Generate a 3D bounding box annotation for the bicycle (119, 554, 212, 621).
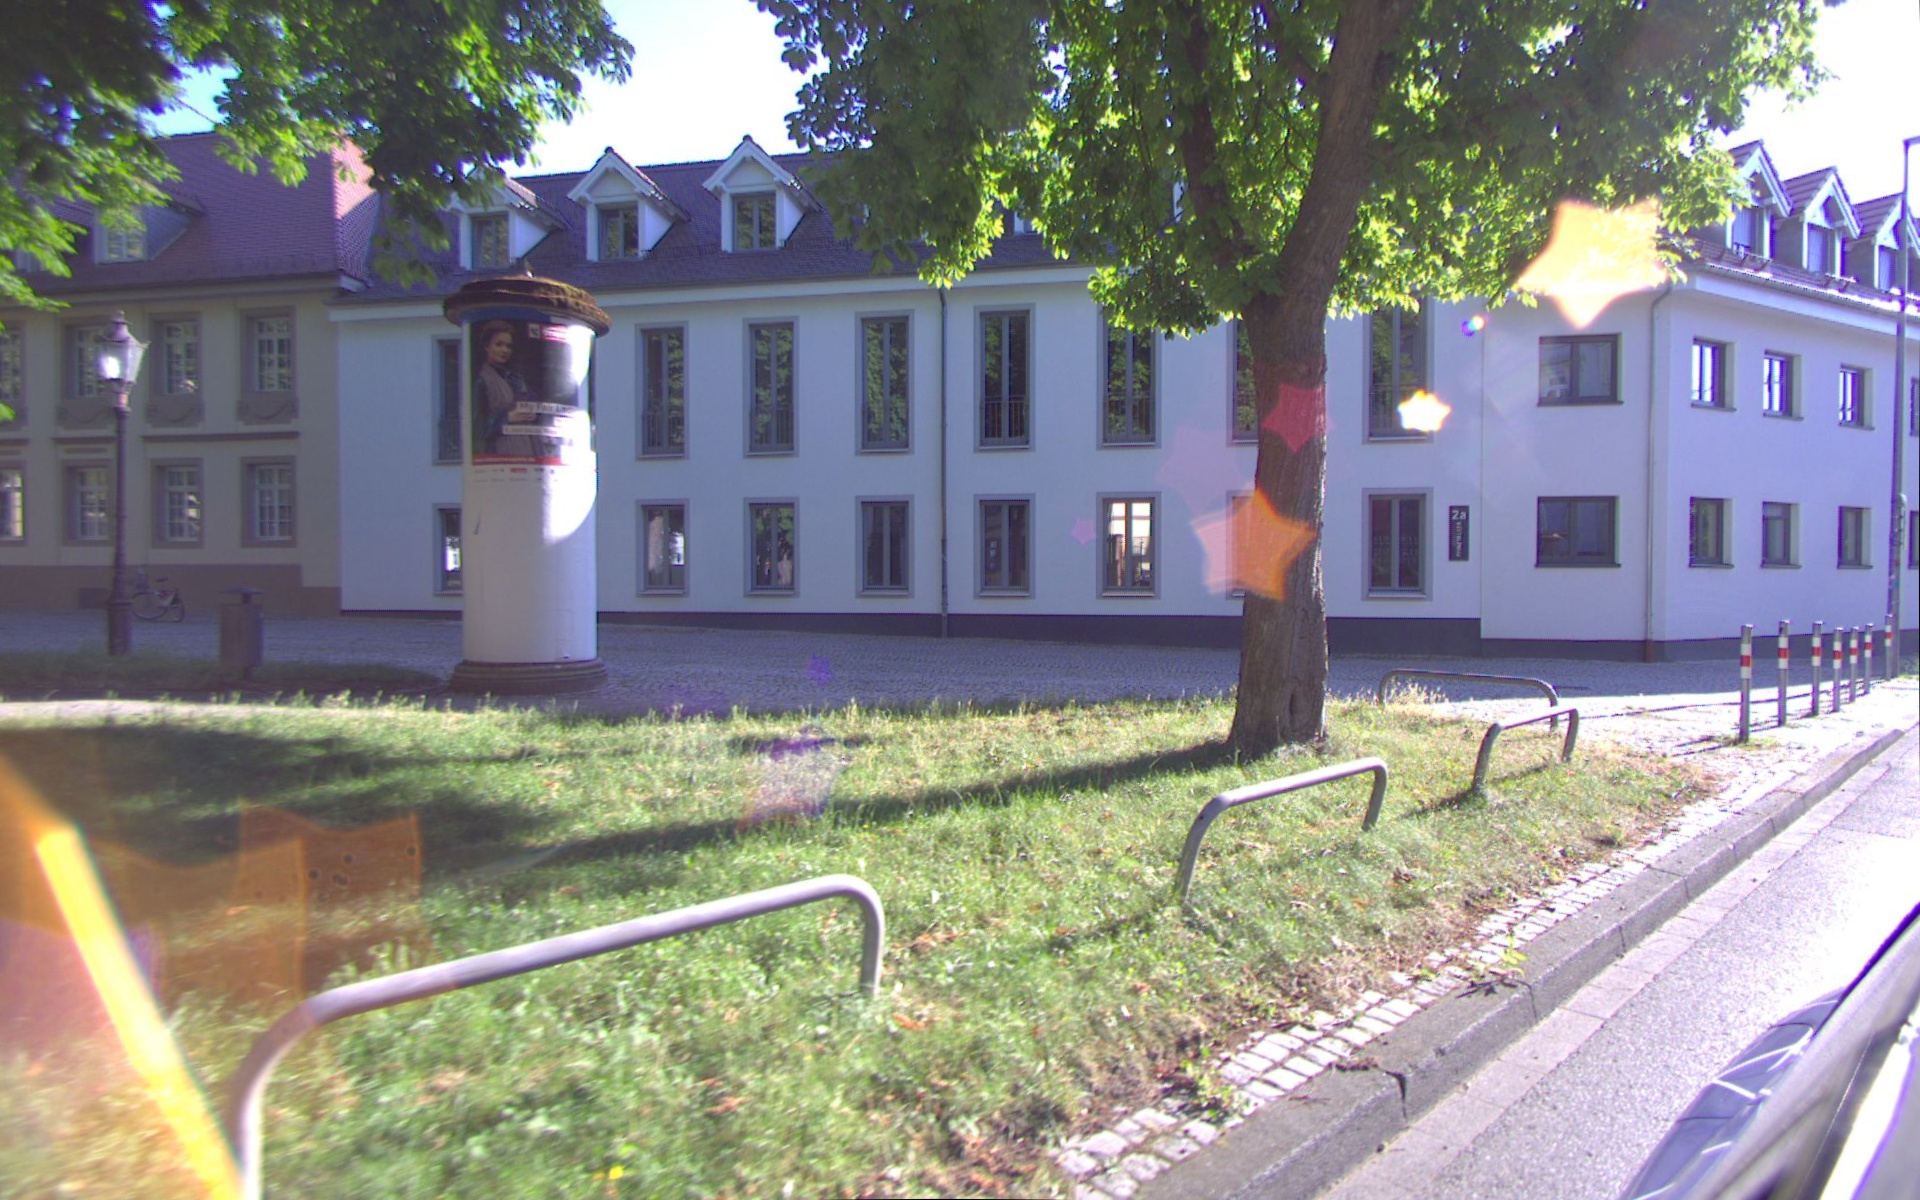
[{"bbox_3d":[-16.334,-0.277,20.817,1.742,1.333,0.717,1,2,21],"label":"bicycle"}]
